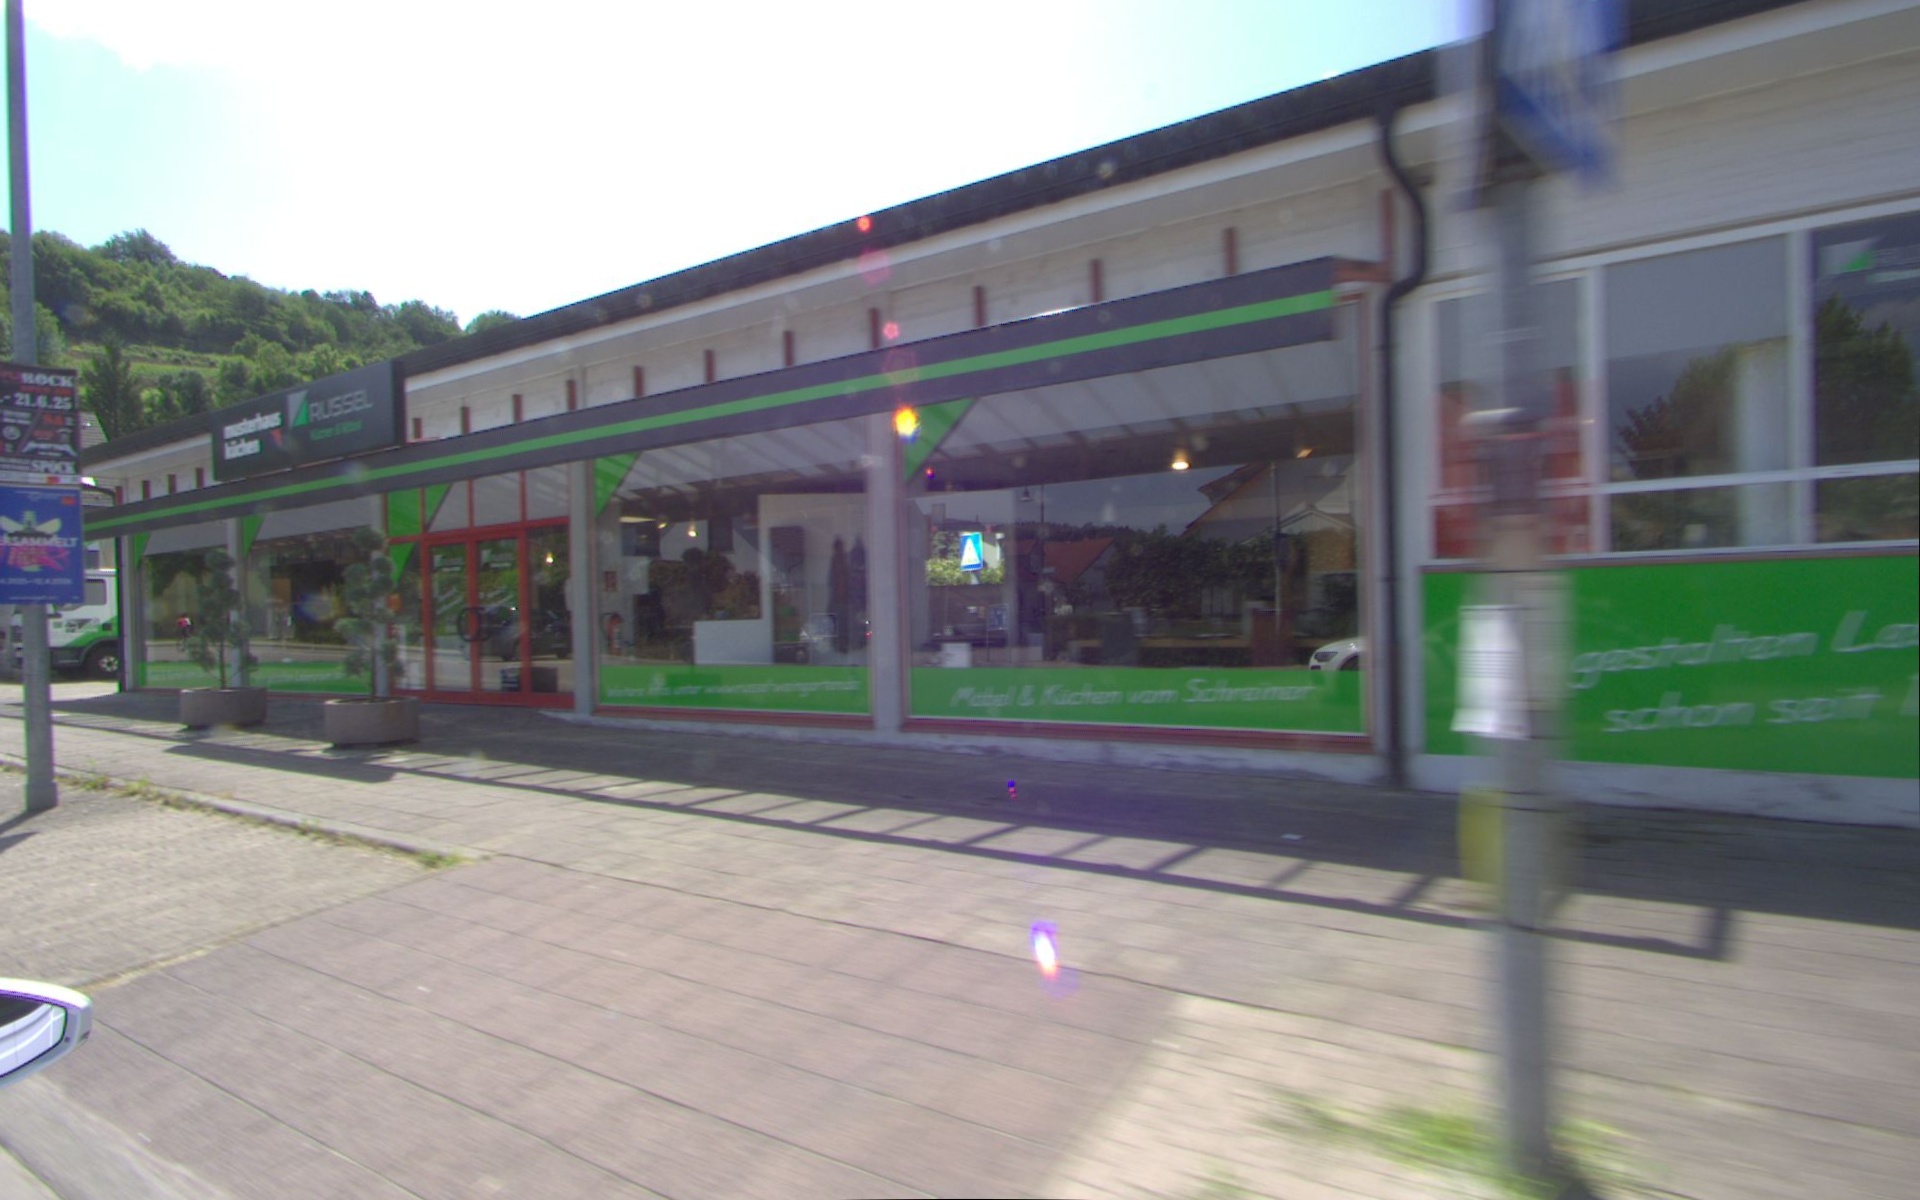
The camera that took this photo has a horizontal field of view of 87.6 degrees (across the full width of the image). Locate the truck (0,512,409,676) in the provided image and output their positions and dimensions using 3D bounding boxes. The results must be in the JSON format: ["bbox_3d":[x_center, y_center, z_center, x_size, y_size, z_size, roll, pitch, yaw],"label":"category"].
[{"bbox_3d":[-19.244,-0.048,26.242,2.640,3.618,8.155,-2,-1,32],"label":"truck"}]
